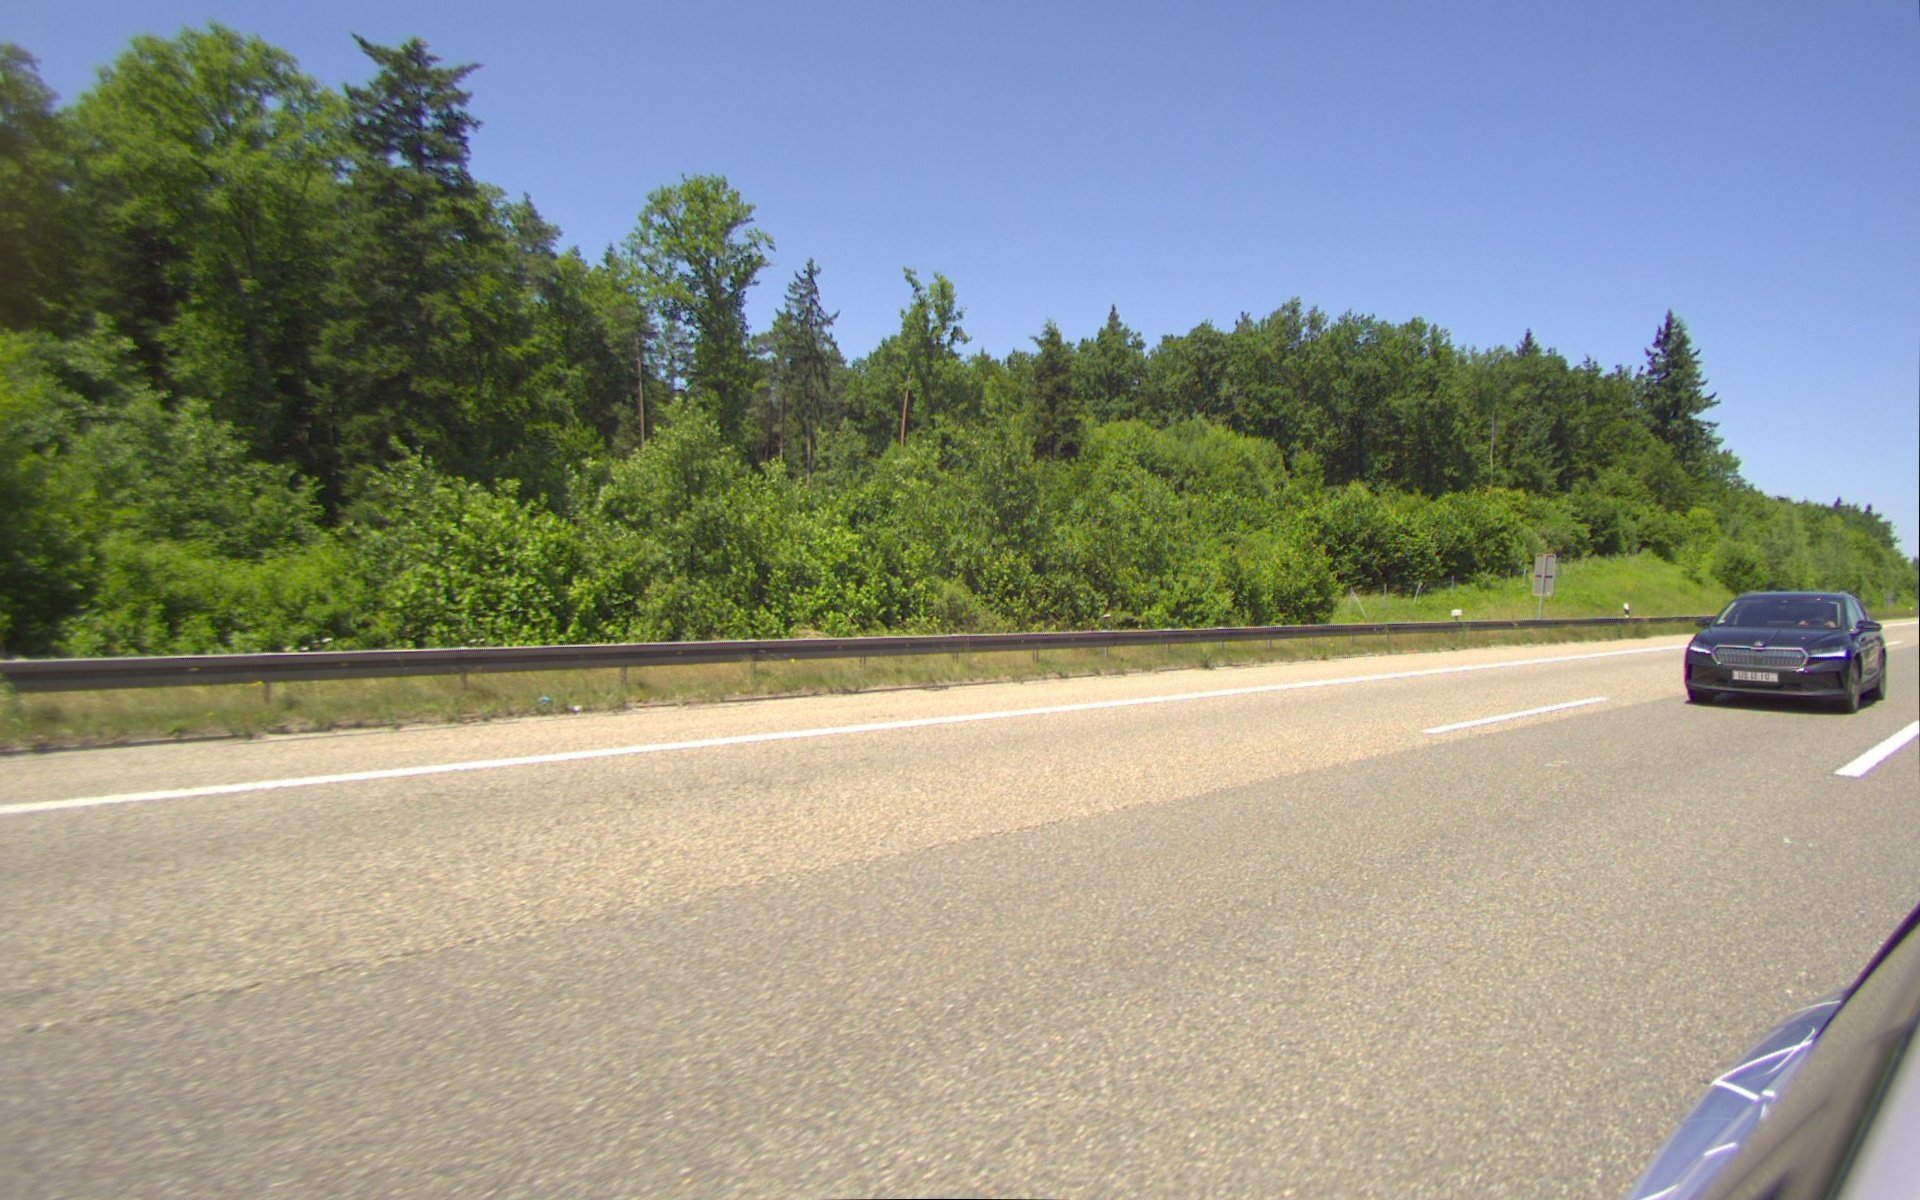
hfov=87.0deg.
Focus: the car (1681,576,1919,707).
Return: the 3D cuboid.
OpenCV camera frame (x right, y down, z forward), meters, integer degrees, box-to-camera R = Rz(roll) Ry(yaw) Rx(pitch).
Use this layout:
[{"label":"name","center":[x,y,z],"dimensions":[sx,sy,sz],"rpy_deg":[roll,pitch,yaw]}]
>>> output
[{"label":"car","center":[12.474,0.521,14.869],"dimensions":[4.377,1.639,1.989],"rpy_deg":[1,0,-39]}]
